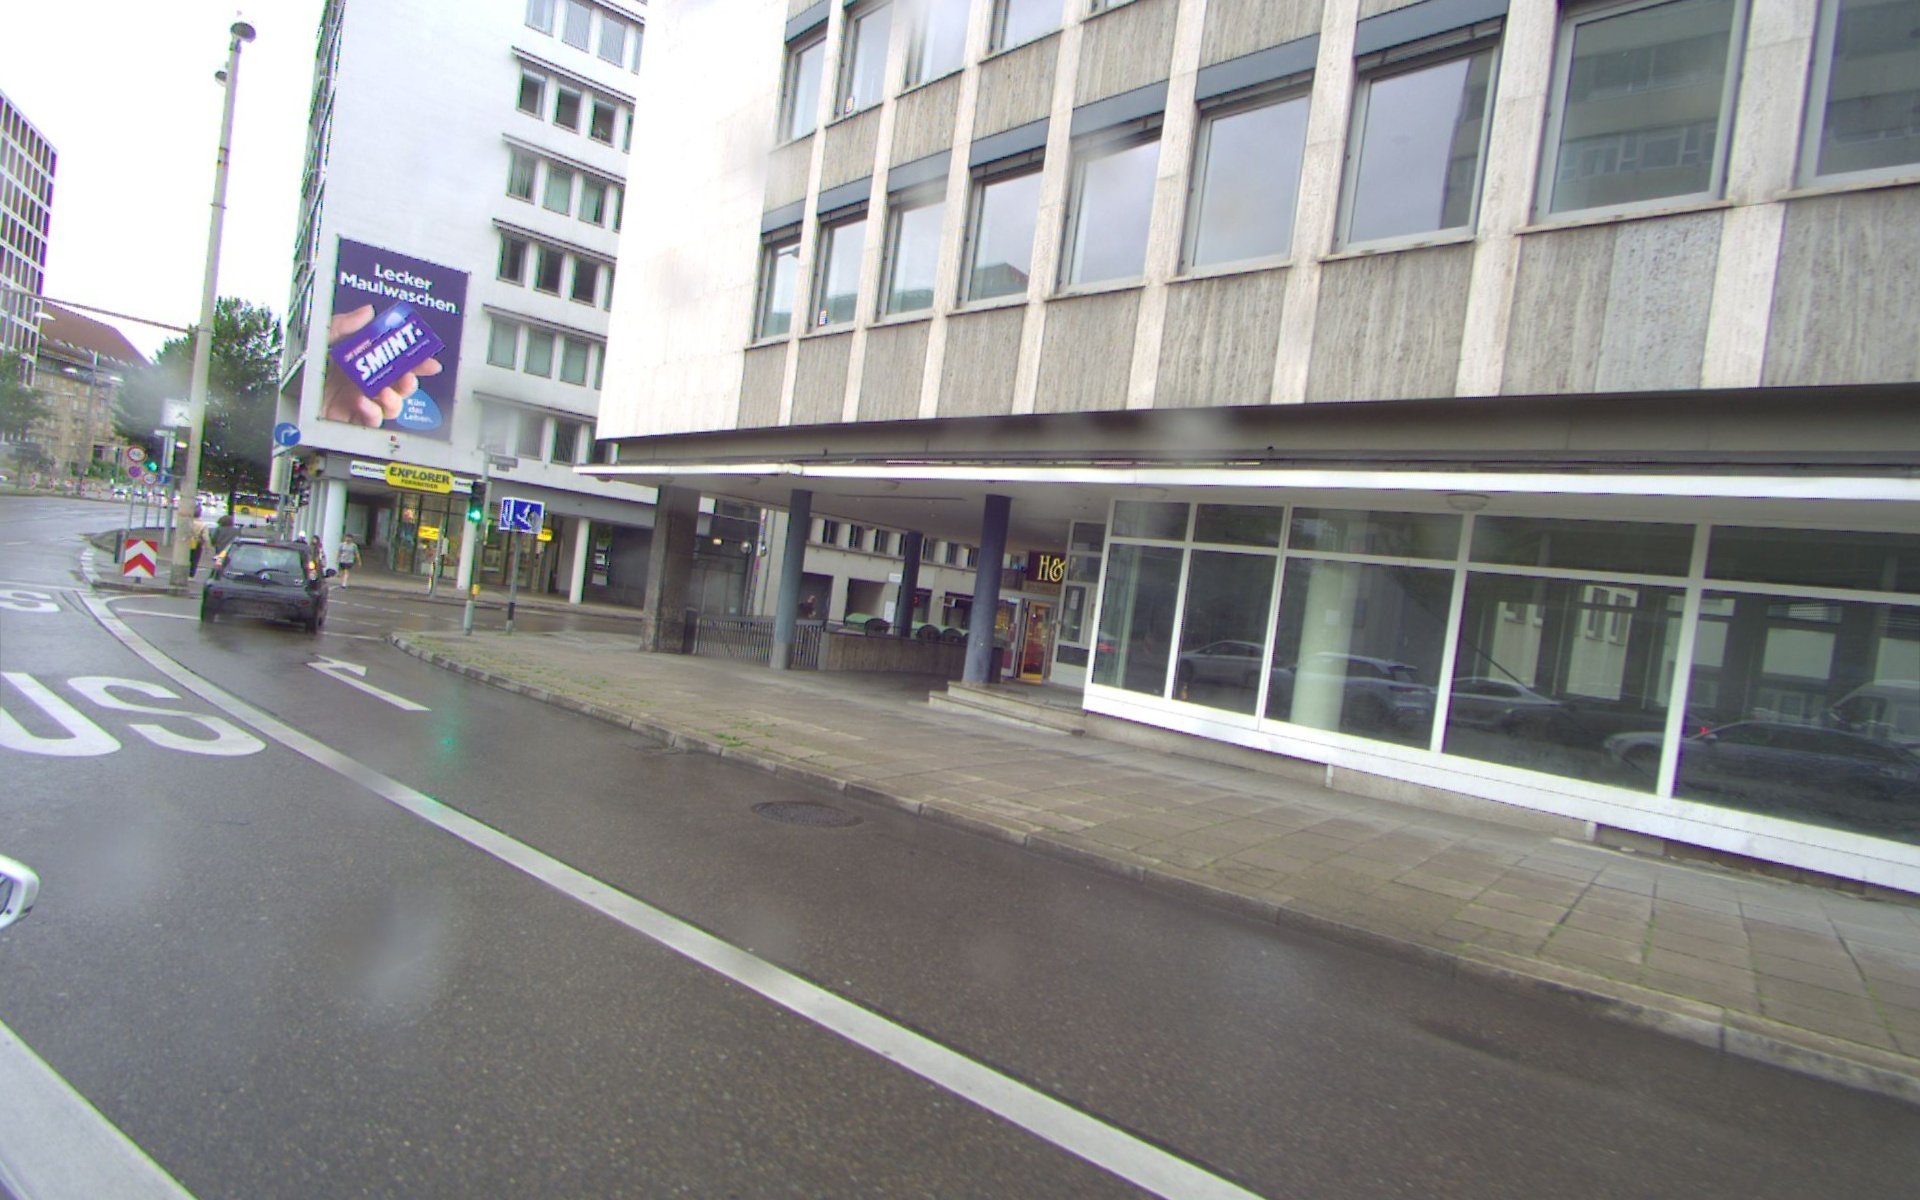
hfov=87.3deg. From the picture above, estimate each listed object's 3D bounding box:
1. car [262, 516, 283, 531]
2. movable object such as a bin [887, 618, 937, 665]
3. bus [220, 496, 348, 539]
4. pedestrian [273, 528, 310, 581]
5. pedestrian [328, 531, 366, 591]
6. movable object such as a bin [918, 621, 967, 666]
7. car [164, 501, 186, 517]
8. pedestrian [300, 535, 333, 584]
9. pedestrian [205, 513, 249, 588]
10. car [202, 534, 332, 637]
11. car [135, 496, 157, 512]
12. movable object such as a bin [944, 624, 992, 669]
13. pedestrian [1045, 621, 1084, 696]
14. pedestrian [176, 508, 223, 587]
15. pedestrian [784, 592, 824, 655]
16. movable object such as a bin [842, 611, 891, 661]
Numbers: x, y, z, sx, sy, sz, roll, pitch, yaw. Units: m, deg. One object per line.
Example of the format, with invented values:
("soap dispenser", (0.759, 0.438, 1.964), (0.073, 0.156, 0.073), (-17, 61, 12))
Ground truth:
("car", (-91.791, -10.198, 134.404), (1.680, 1.503, 3.973), (8, -2, -28))
("movable object such as a bin", (-1.670, 1.445, 35.016), (1.094, 1.399, 1.186), (7, 0, -37))
("bus", (-110.437, -13.406, 164.906), (16.849, 4.109, 4.403), (9, -2, -32))
("pedestrian", (-22.228, -1.506, 33.463), (0.660, 1.675, 0.651), (7, 0, -15))
("pedestrian", (-19.633, -1.239, 32.231), (0.660, 1.815, 0.771), (7, 0, -15))
("movable object such as a bin", (-0.619, 1.557, 35.836), (1.094, 1.399, 1.186), (7, 0, -37))
("car", (-98.666, -11.433, 126.497), (1.877, 1.662, 3.962), (8, -1, -35))
("pedestrian", (-21.610, -1.348, 33.798), (0.616, 1.561, 0.651), (7, 0, -15))
("pedestrian", (-18.970, -1.290, 26.029), (0.745, 1.820, 0.808), (7, 1, -38))
("car", (-12.068, -0.283, 17.686), (1.561, 1.445, 3.967), (8, -2, -33))
("car", (-134.600, -15.849, 166.386), (1.980, 2.037, 3.968), (8, -1, -31))
("movable object such as a bin", (0.285, 1.682, 36.525), (1.094, 1.399, 1.186), (7, 0, -37))
("pedestrian", (2.690, 1.497, 25.846), (0.697, 1.825, 0.801), (7, 0, 13))
("pedestrian", (-18.819, -1.298, 24.904), (0.745, 1.820, 0.808), (7, 1, -38))
("pedestrian", (-4.624, 0.699, 29.837), (0.768, 1.752, 0.589), (7, 0, -44))
("movable object such as a bin", (-3.126, 1.187, 33.497), (0.961, 1.447, 1.268), (7, 1, -37))
